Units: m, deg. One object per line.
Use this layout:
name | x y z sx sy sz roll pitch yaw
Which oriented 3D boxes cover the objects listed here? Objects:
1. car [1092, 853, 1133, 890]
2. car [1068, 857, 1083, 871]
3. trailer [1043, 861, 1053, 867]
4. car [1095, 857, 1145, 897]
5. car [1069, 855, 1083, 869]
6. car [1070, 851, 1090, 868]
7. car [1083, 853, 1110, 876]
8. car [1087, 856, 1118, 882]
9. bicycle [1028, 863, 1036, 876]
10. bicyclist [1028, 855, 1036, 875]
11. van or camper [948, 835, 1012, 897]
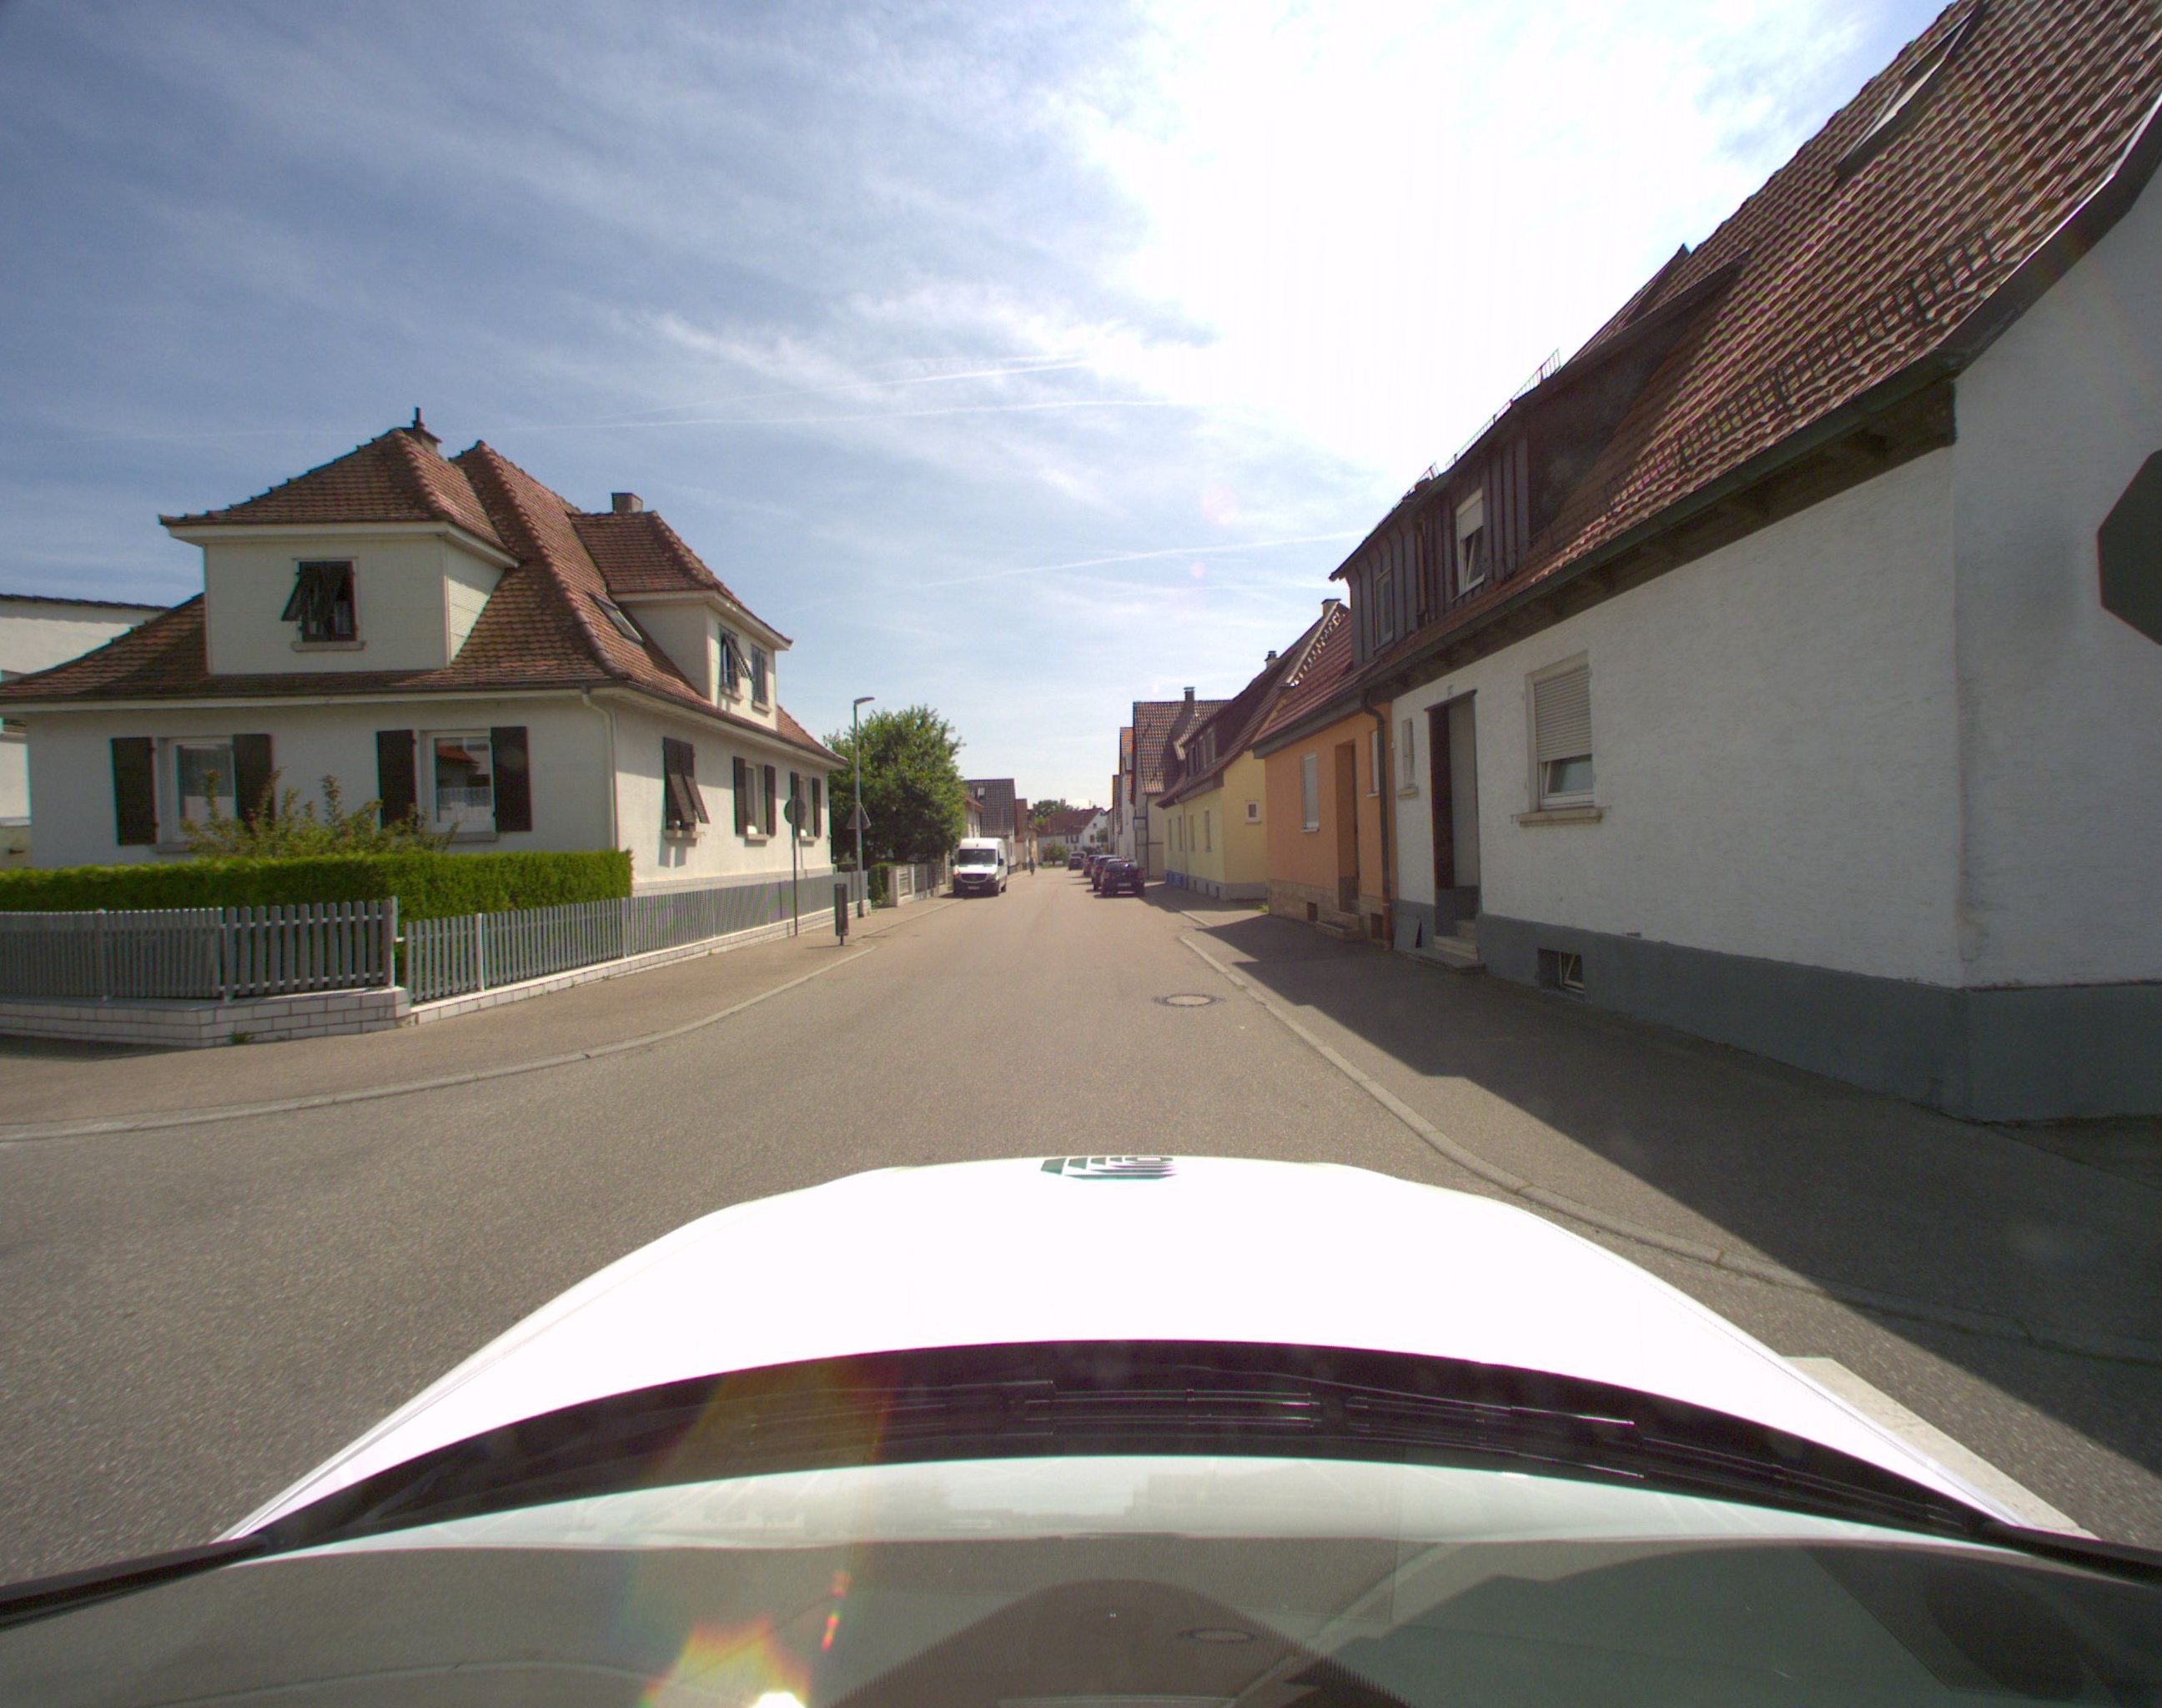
car | 1.390 0.774 37.804 1.723 1.600 4.252 -1 0 0
car | -0.593 1.202 95.877 1.509 1.567 3.186 -2 0 3
trailer | -5.141 1.584 125.560 1.496 0.927 1.012 0 0 0
car | 1.488 0.866 32.247 1.607 1.431 3.750 -1 0 -3
car | -0.557 1.026 101.191 1.509 1.624 3.186 -2 0 3
car | -0.096 0.754 110.027 2.118 2.158 4.743 -2 0 5
car | 1.230 0.827 64.865 1.871 1.700 4.179 -1 0 -3
car | 1.277 0.895 49.738 1.670 1.559 3.037 -1 0 -3
bicycle | -4.538 1.454 75.476 0.668 1.132 2.187 -1 0 -2
bicyclist | -4.552 0.996 75.532 0.711 1.799 0.941 -1 0 -3
van or camper | -4.546 0.529 37.636 2.178 2.571 6.804 -1 0 -1
